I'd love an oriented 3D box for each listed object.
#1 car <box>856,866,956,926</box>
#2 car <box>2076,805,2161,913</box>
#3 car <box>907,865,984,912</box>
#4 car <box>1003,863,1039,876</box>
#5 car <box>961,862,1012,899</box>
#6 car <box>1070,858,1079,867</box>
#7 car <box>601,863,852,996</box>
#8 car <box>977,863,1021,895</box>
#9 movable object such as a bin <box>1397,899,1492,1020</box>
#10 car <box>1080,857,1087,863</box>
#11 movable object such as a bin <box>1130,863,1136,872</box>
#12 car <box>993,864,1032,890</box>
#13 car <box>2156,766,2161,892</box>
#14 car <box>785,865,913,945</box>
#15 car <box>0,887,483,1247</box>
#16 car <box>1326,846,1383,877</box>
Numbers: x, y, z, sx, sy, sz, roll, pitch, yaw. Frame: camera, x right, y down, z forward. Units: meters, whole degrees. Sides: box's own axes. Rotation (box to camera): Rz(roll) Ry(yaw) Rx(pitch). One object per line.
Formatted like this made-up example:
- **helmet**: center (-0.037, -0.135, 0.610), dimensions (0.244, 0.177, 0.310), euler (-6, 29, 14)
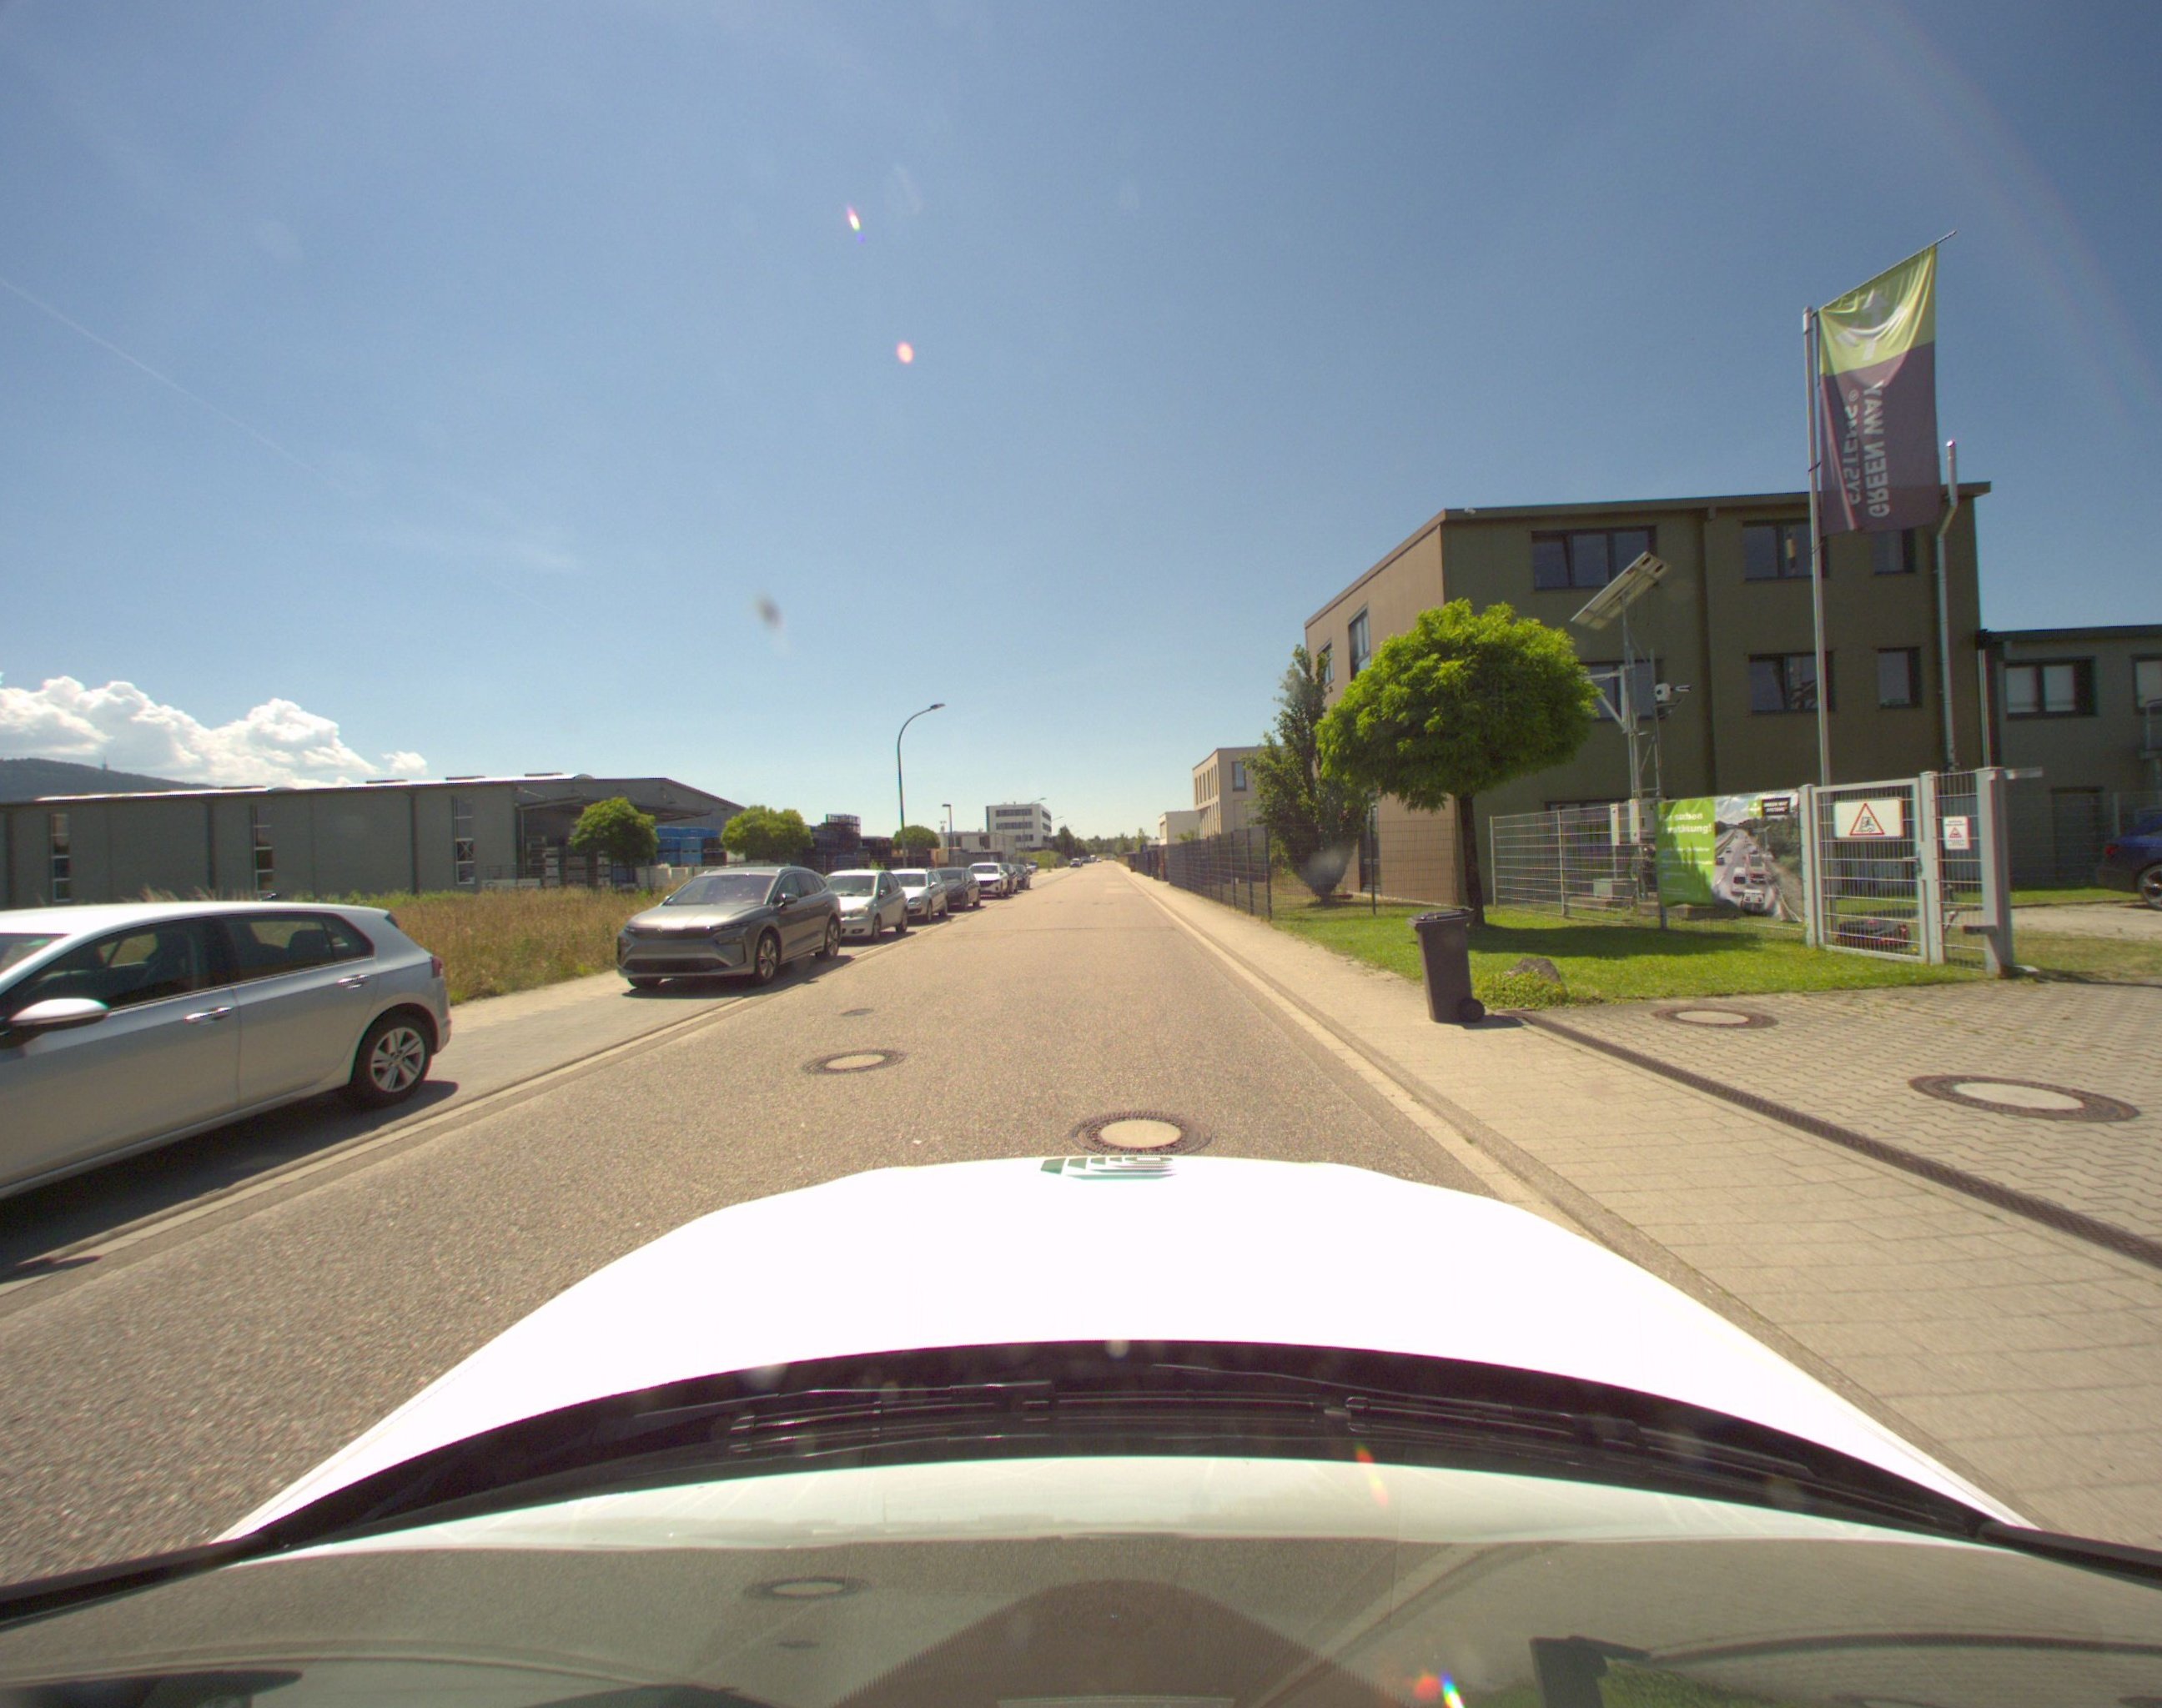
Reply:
- **car**: center (-4.931, 1.133, 23.633), dimensions (1.769, 1.481, 4.816), euler (-1, 0, 1)
- **car**: center (15.363, 0.040, 9.474), dimensions (1.986, 1.438, 4.614), euler (-2, 0, 2)
- **car**: center (-4.685, 1.155, 28.733), dimensions (1.850, 1.481, 4.231), euler (-1, 0, 2)
- **car**: center (-7.467, 1.948, 102.259), dimensions (4.262, 1.364, 1.898), euler (-3, 0, 1)
- **car**: center (-4.299, 1.166, 37.486), dimensions (1.763, 1.592, 4.360), euler (-1, -1, 1)
- **car**: center (-1.165, 1.455, 143.393), dimensions (1.461, 1.490, 3.209), euler (-2, 0, 2)
- **car**: center (-5.065, 0.962, 12.417), dimensions (1.784, 1.607, 4.463), euler (-1, 0, 1)
- **car**: center (-4.257, 1.253, 42.990), dimensions (1.763, 1.556, 4.501), euler (-1, -1, 1)
- **movable object such as a bin**: center (3.093, 0.890, 6.972), dimensions (0.548, 0.928, 0.523), euler (-6, -1, 11)
- **car**: center (0.685, 1.445, 198.370), dimensions (1.638, 1.490, 3.209), euler (-2, 0, 2)
- **movable object such as a bin**: center (6.090, 1.577, 95.286), dimensions (0.549, 0.928, 0.523), euler (-7, 0, 6)
- **car**: center (-4.030, 1.335, 48.603), dimensions (1.762, 1.461, 4.335), euler (-1, -1, 2)
- **car**: center (18.018, -0.409, 10.091), dimensions (1.986, 1.996, 5.657), euler (-2, 0, 2)
- **car**: center (-5.004, 1.045, 18.075), dimensions (1.688, 1.525, 3.735), euler (-1, 0, 1)
- **car**: center (-5.577, 0.996, 4.309), dimensions (1.758, 1.451, 4.198), euler (-1, 0, -1)
- **car**: center (14.109, 0.401, 42.214), dimensions (1.649, 1.444, 4.001), euler (-3, -1, 1)
